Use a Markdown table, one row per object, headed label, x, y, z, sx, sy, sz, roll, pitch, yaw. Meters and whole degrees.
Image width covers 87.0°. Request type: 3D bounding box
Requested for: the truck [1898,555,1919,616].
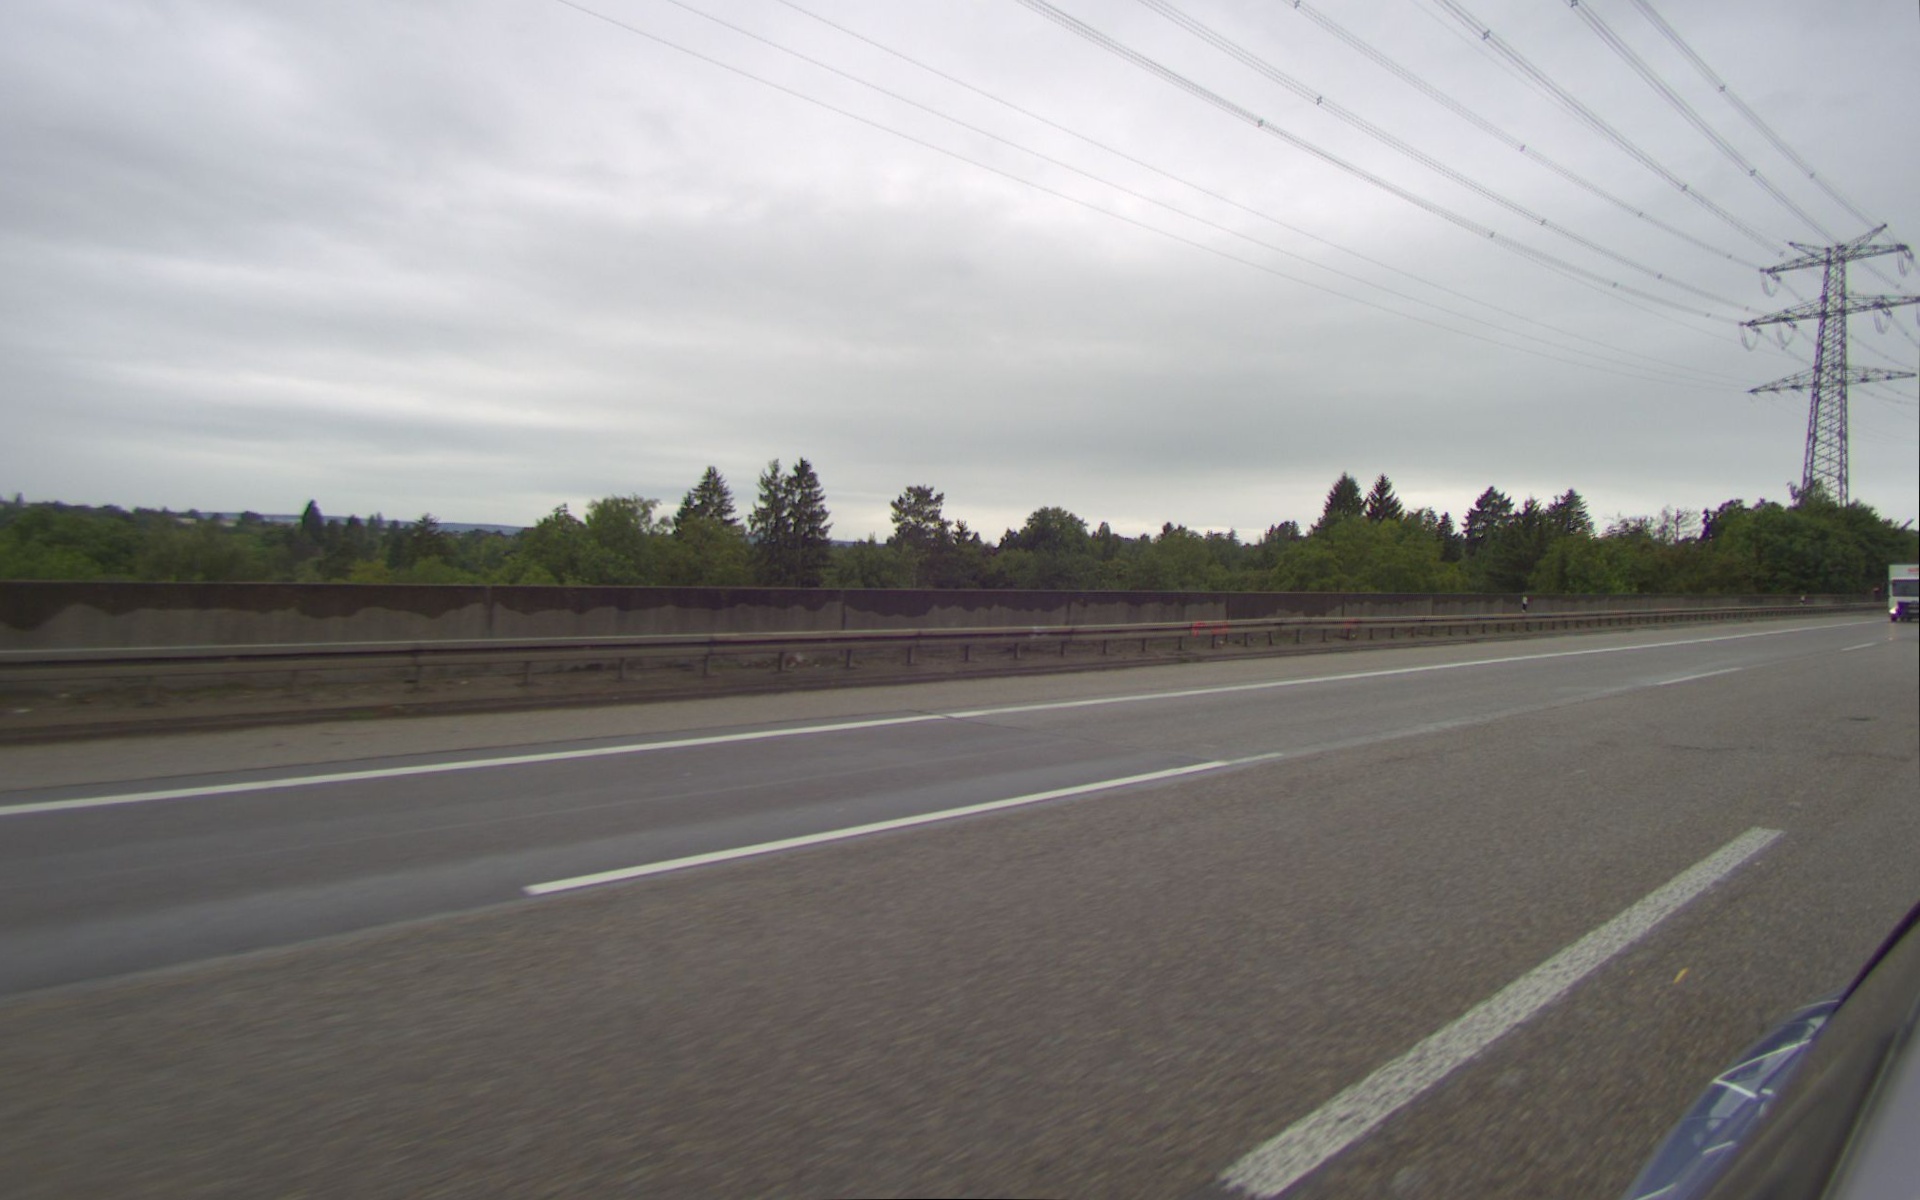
| label | x | y | z | sx | sy | sz | roll | pitch | yaw |
| --- | --- | --- | --- | --- | --- | --- | --- | --- | --- |
| truck | 56.375 | -0.801 | 58.321 | 6.809 | 3.386 | 2.647 | 0 | 1 | -41 |
